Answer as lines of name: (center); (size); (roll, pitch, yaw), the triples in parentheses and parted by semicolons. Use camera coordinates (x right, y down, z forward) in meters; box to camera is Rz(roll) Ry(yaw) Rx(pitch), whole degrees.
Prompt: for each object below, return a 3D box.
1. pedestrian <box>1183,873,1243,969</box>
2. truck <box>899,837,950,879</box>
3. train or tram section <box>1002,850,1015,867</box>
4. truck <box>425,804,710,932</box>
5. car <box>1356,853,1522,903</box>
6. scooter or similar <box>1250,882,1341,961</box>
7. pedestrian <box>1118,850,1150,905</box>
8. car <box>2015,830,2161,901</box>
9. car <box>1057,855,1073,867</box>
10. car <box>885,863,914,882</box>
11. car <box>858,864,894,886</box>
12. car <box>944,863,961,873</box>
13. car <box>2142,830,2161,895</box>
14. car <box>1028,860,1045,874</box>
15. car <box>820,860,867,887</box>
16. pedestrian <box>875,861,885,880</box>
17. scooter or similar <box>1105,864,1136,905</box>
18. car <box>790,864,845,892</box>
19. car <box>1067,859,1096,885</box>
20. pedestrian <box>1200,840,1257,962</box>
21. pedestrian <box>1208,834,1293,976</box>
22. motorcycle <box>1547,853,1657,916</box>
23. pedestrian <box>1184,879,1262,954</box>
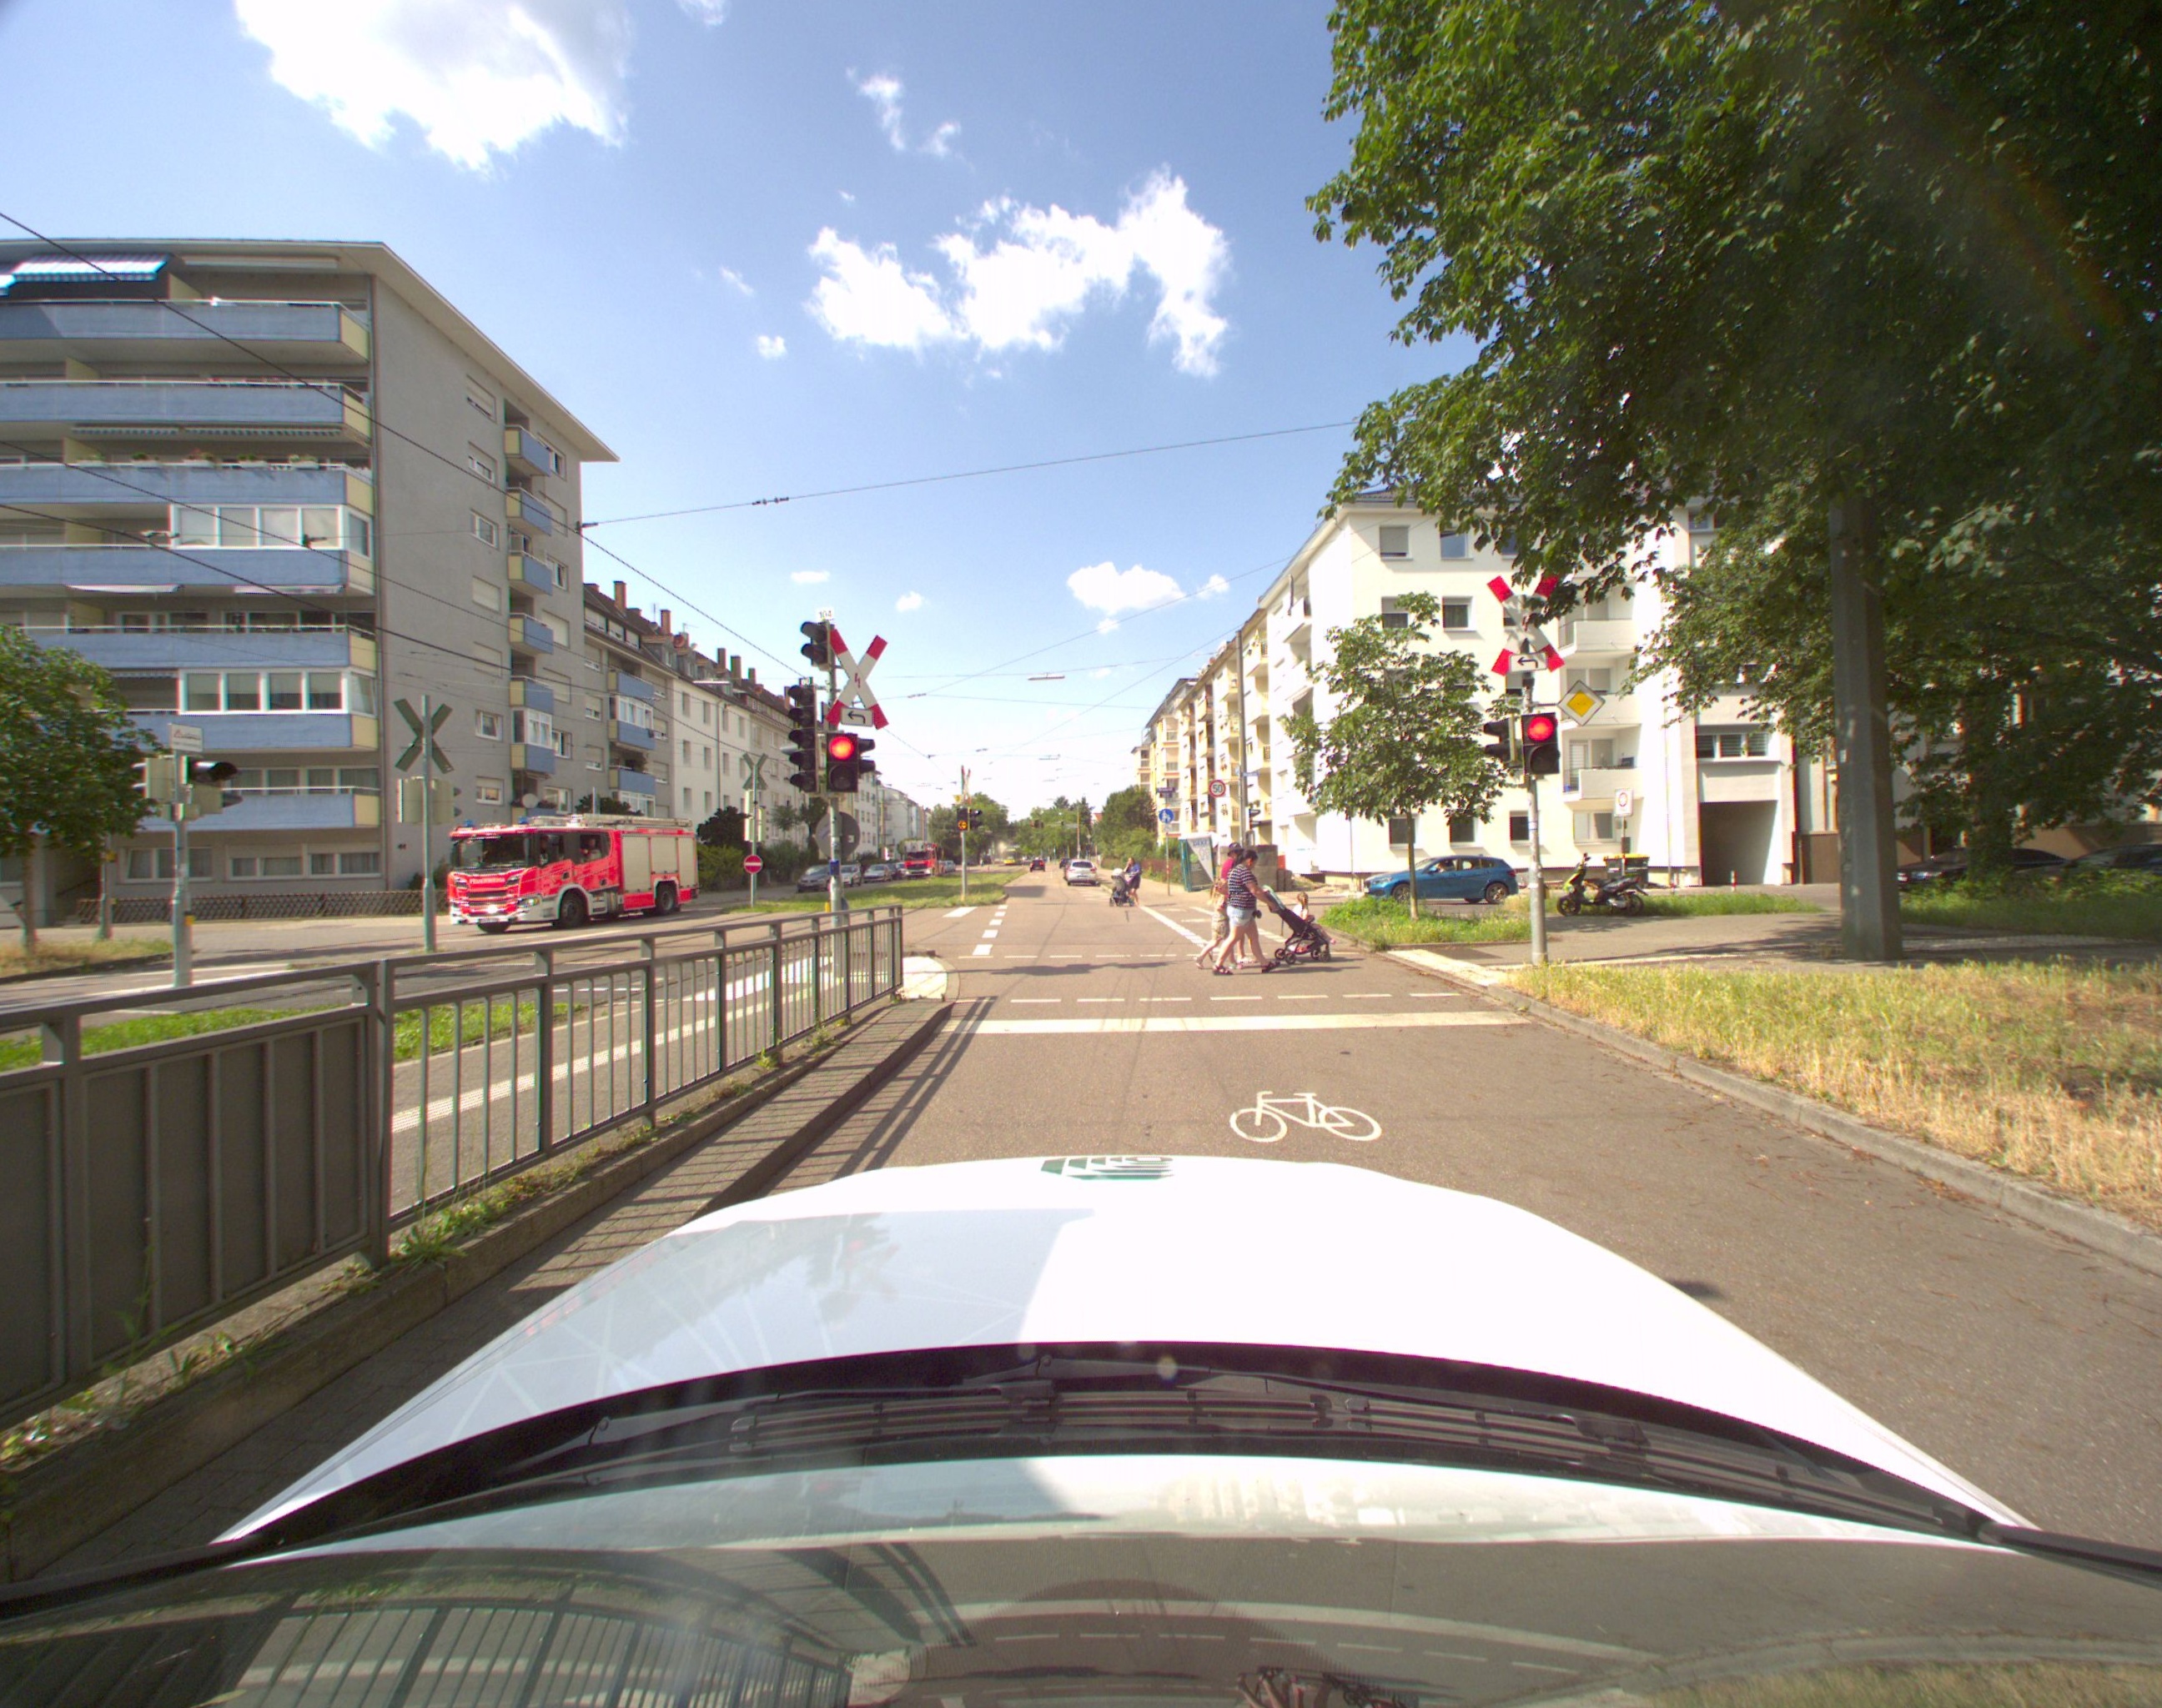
pedestrian: (1.724, 0.855, 10.709); (0.634, 1.180, 0.799); (-2, -1, 1)
truck: (-13.683, 0.371, 72.134); (2.658, 3.471, 10.163); (0, -1, -1)
train or tram section: (-13.987, 0.830, 157.997); (2.254, 3.069, 8.122); (-2, 0, -4)
truck: (-14.733, 0.395, 24.498); (2.583, 3.186, 8.395); (0, -1, 6)
car: (10.490, 0.695, 24.069); (4.151, 1.413, 1.781); (0, -1, 1)
scooter or similar: (2.970, 0.923, 11.358); (1.097, 1.056, 0.650); (0, -1, -2)
pedestrian: (1.758, 0.779, 27.124); (0.694, 1.789, 1.036); (0, -1, 27)
car: (23.225, 0.214, 17.499); (1.733, 1.459, 4.001); (-2, 0, 1)
car: (-2.129, 0.952, 111.290); (1.735, 1.507, 4.005); (0, -1, 5)
car: (-16.875, 1.671, 75.898); (1.988, 1.711, 3.997); (0, -1, -2)
car: (-16.319, 1.677, 65.014); (1.989, 1.711, 3.996); (0, -1, -3)
car: (-17.245, 1.874, 109.469); (1.842, 1.368, 3.996); (0, -1, -3)
car: (26.032, 0.177, 17.453); (1.794, 1.539, 4.013); (-2, 0, 11)
car: (-5.092, 1.463, 93.298); (1.739, 1.507, 3.997); (0, -1, -1)
car: (-15.995, 1.285, 55.090); (1.987, 1.711, 3.999); (0, -1, 0)
pedestrian: (-19.054, 1.538, 77.261); (0.703, 1.794, 0.864); (-2, 0, -1)
scooter or similar: (1.274, 0.971, 26.299); (0.656, 1.304, 0.874); (0, 0, 29)
car: (-15.771, 1.397, 48.981); (1.987, 1.645, 3.999); (0, -1, 0)
car: (0.026, 1.034, 48.412); (1.617, 1.465, 3.509); (0, -1, -1)
pedestrian: (2.048, 0.645, 11.360); (0.703, 1.648, 0.637); (0, -1, 1)
pedestrian: (2.084, 0.609, 10.125); (0.842, 1.667, 0.799); (-2, -1, 1)
motorcycle: (11.043, 0.649, 17.327); (0.574, 1.215, 1.829); (-6, 1, -30)
pedestrian: (4.256, 1.826, 25.010); (1.984, 2.014, 4.004); (0, -1, 4)
